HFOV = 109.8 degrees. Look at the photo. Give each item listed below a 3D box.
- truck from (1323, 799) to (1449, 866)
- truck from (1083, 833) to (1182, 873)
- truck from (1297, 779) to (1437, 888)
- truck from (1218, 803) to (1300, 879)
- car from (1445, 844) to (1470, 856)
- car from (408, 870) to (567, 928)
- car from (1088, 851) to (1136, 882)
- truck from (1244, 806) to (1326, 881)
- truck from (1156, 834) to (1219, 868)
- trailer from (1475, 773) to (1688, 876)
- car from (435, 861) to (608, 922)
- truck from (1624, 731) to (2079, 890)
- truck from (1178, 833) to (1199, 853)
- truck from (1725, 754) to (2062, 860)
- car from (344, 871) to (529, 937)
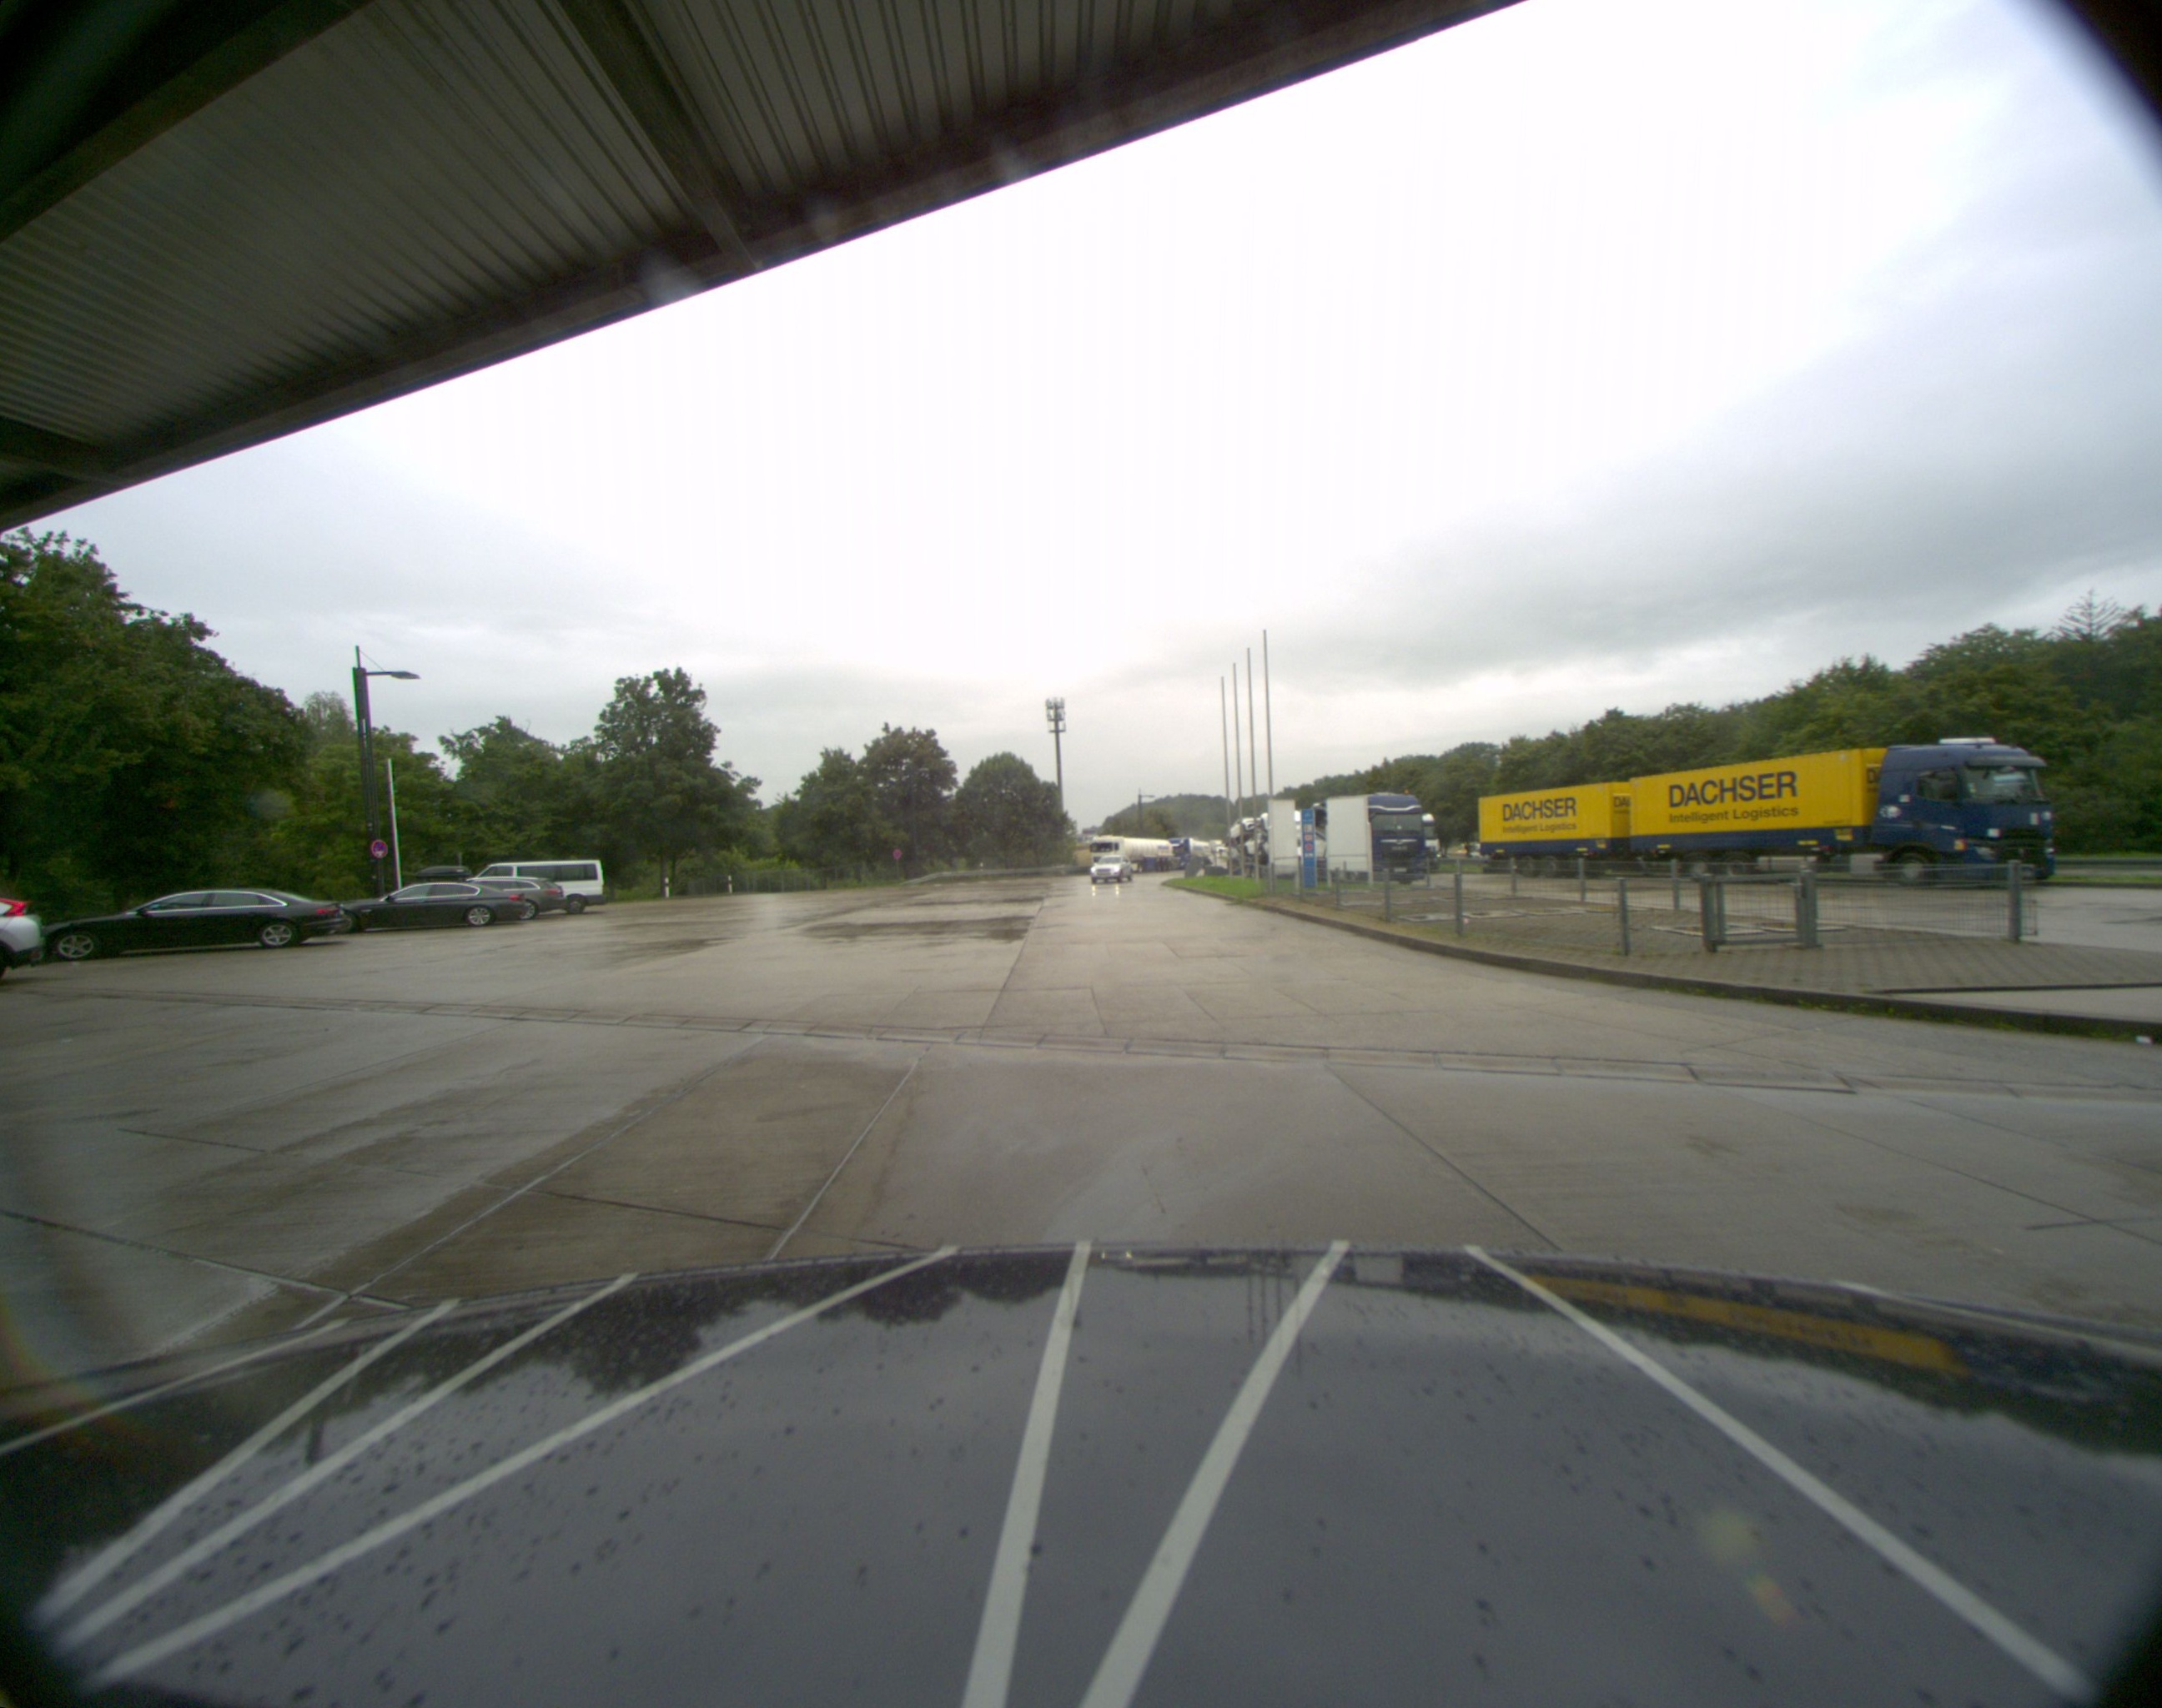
[{"bbox_3d":[19.883,-1.301,50.567,2.757,3.894,10.678,-2,1,-8],"label":"truck"},{"bbox_3d":[5.453,-0.162,75.207,3.505,3.584,14.426,-2,0,31],"label":"truck"},{"bbox_3d":[12.184,-0.798,33.179,2.665,4.157,7.103,-2,0,-6],"label":"truck"},{"bbox_3d":[10.570,-0.728,45.777,2.665,4.157,6.618,-2,1,-6],"label":"truck"},{"bbox_3d":[57.128,-0.630,115.318,1.889,1.813,3.999,-2,1,1],"label":"car"},{"bbox_3d":[-19.471,1.427,25.157,4.007,1.650,1.596,-2,0,-35],"label":"car"},{"bbox_3d":[2.047,0.752,48.524,1.864,1.788,4.545,-2,1,18],"label":"car"},{"bbox_3d":[11.046,-0.560,41.587,2.665,3.750,4.747,-2,1,-6],"label":"truck"},{"bbox_3d":[12.781,-0.405,89.688,3.506,3.584,14.685,-2,0,23],"label":"truck"},{"bbox_3d":[21.792,-1.186,33.947,2.757,3.894,8.700,-2,1,-9],"label":"trailer"},{"bbox_3d":[-20.427,1.288,27.994,4.898,1.938,2.310,-2,0,-35],"label":"car"},{"bbox_3d":[23.154,-1.130,24.326,2.757,3.894,10.678,-2,1,-8],"label":"truck"},{"bbox_3d":[29.812,-3.015,211.629,3.145,5.092,11.515,-2,1,-5],"label":"truck"},{"bbox_3d":[33.911,-1.763,32.712,2.421,3.785,10.223,-2,1,-10],"label":"truck"},{"bbox_3d":[-18.876,1.394,22.506,4.007,1.650,1.596,-2,0,-35],"label":"car"}]
